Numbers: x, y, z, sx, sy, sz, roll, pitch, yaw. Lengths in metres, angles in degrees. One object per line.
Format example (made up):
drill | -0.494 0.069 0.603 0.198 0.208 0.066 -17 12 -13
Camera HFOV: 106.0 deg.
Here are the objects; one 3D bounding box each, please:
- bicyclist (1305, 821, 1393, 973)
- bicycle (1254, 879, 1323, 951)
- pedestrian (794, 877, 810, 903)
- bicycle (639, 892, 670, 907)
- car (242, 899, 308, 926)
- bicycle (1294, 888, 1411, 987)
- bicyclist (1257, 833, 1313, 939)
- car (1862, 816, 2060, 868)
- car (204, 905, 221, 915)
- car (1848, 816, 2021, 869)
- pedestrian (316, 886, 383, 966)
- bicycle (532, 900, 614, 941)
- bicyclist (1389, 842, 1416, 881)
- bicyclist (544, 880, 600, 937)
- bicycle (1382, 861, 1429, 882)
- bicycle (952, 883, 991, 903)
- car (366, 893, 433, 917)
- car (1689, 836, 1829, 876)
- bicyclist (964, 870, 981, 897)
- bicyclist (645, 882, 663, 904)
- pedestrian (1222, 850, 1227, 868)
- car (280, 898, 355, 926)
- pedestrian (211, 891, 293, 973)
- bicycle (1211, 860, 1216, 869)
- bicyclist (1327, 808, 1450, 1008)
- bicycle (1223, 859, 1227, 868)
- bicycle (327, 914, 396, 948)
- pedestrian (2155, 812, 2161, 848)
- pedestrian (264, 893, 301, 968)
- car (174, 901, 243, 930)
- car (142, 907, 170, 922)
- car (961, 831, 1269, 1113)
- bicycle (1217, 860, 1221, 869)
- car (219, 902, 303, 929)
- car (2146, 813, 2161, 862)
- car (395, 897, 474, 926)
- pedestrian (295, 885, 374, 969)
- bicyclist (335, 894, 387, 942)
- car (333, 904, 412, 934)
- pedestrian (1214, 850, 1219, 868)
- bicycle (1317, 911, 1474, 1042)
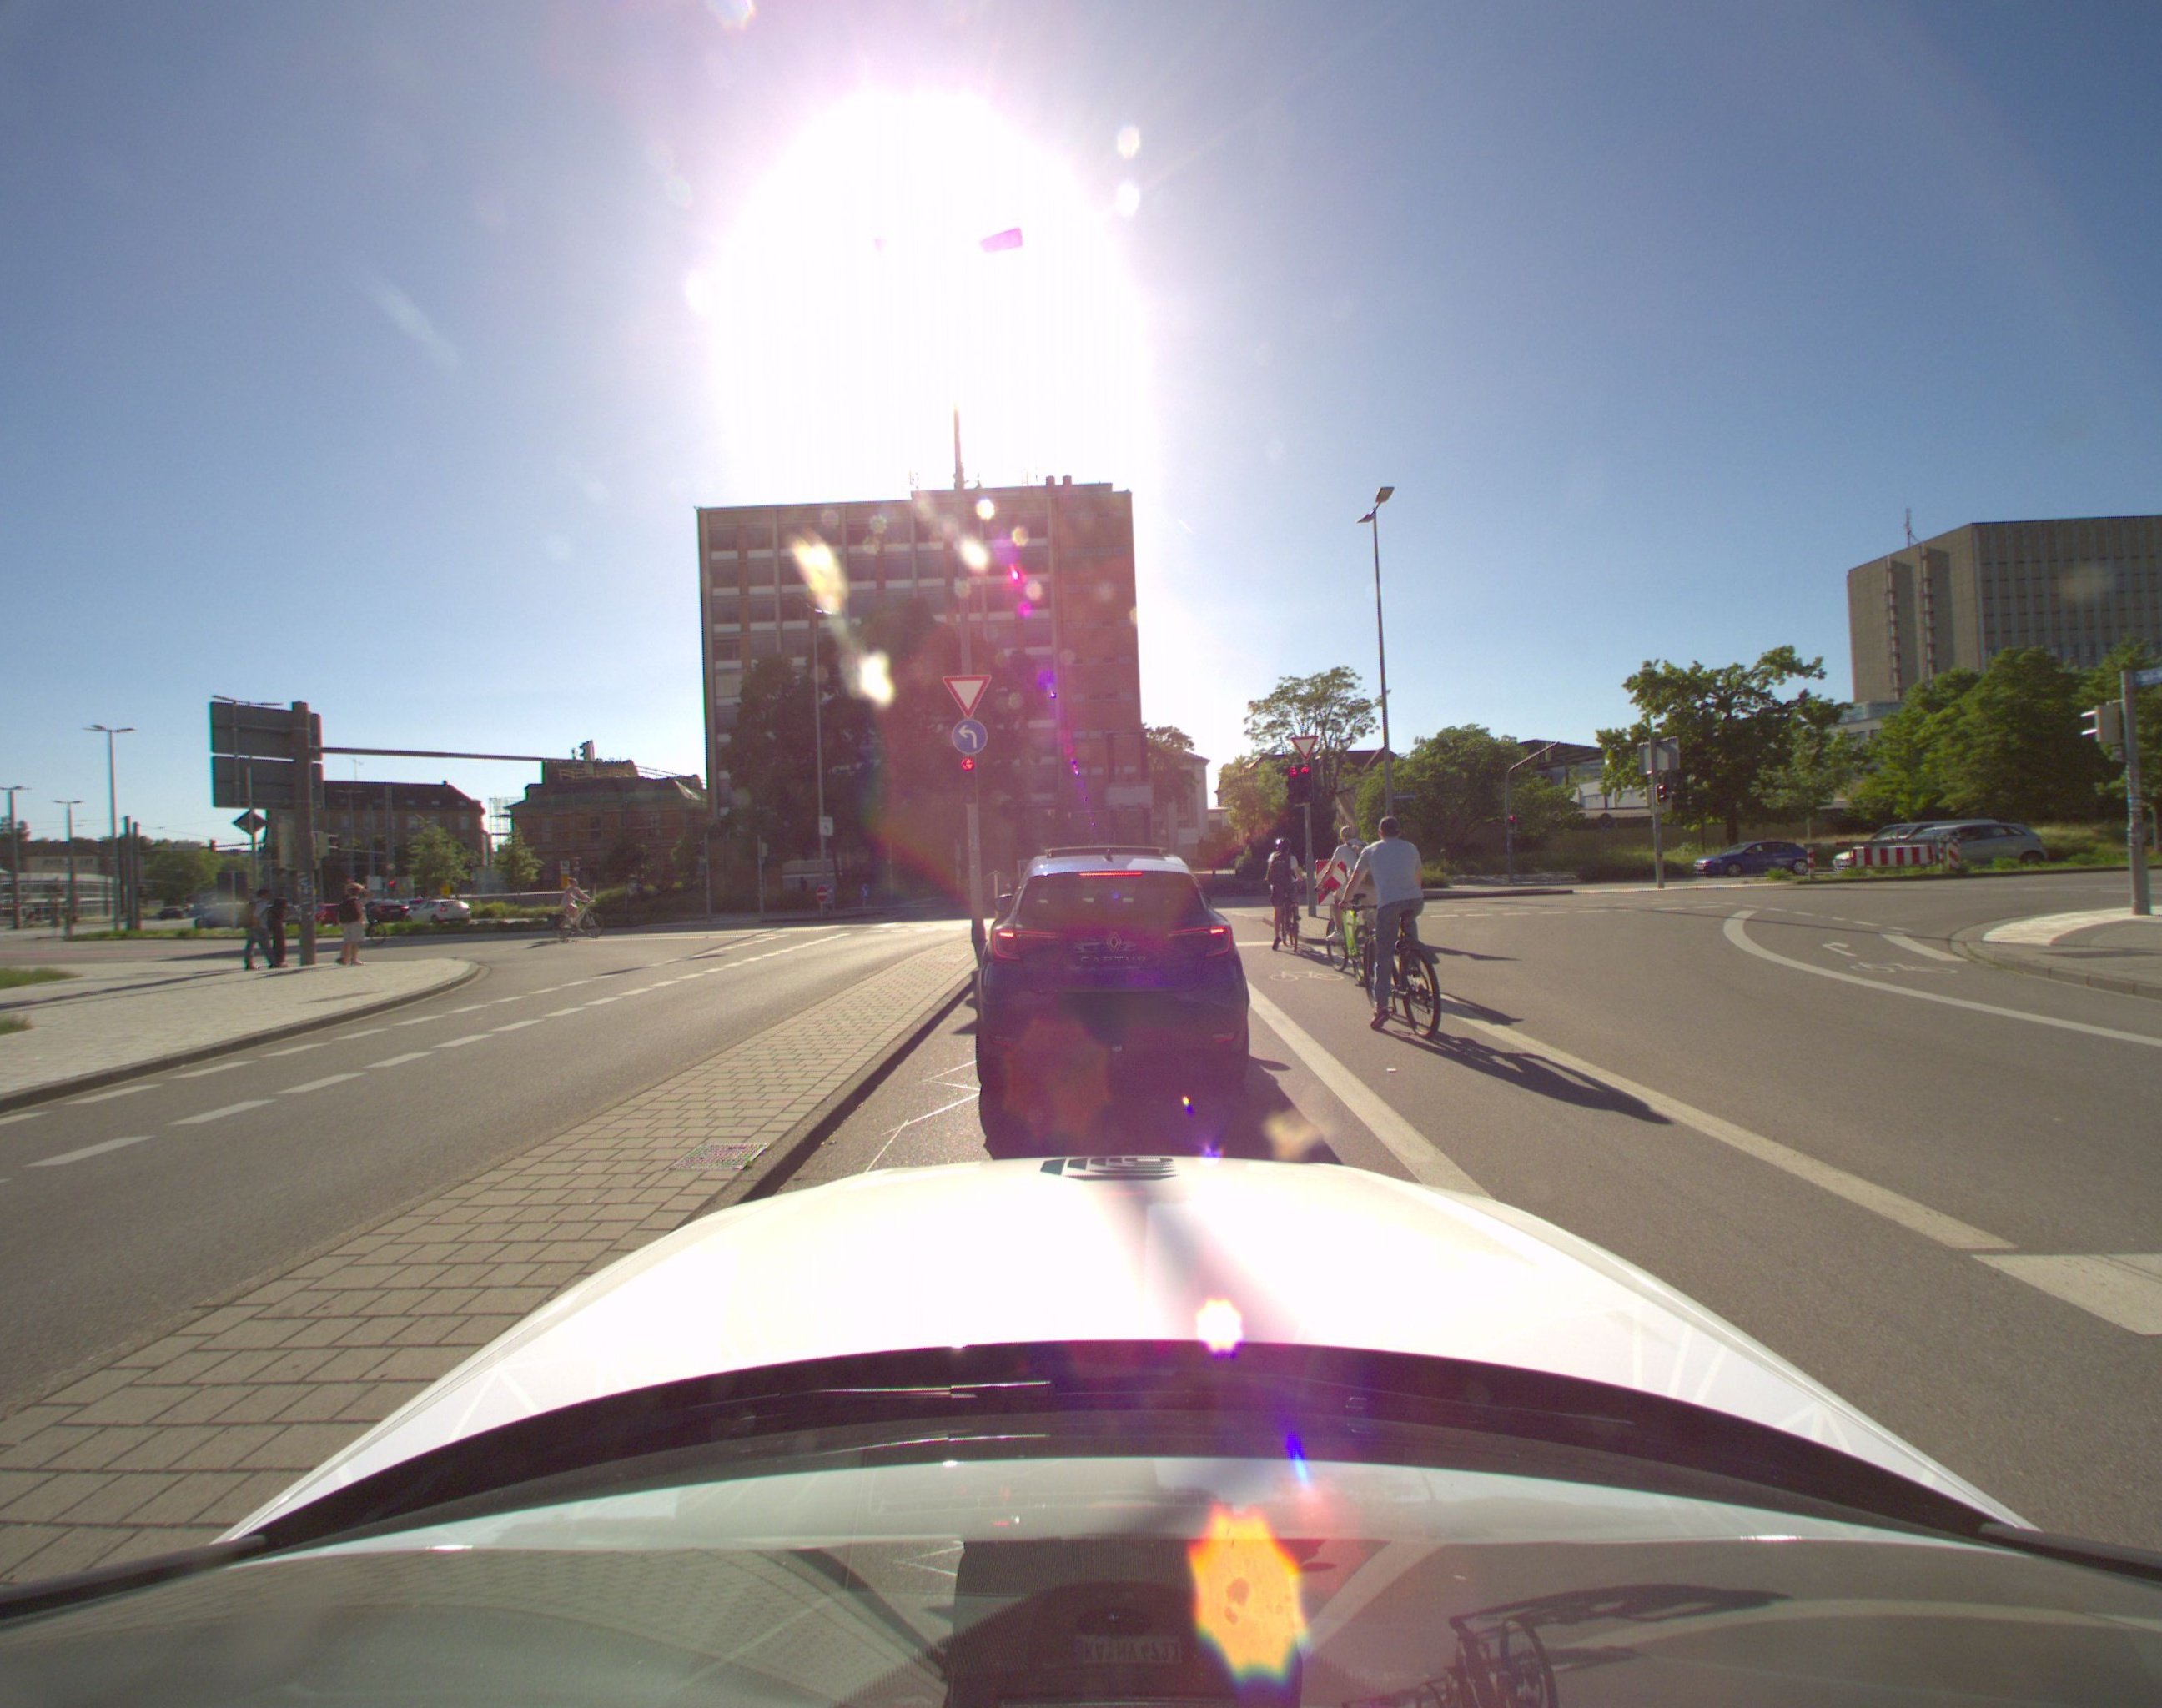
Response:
bicyclist | 3.220 0.492 9.860 0.644 1.739 1.065 0 -1 -4
bicycle | 3.252 0.925 12.944 0.735 0.995 2.177 0 -1 6
pedestrian | -17.939 2.295 52.329 0.731 1.603 0.601 -3 -1 21
bicycle | -29.272 3.116 55.875 2.058 0.964 0.601 -3 -1 20
car | -53.810 3.915 54.386 4.331 1.632 1.855 -3 -1 27
bicycle | 3.219 0.952 9.862 0.657 1.003 1.967 0 -1 -4
bicyclist | 3.243 0.498 12.997 0.722 1.629 0.970 0 -1 6
car | 28.145 -0.363 26.176 4.025 1.408 1.872 -2 -1 8
car | -179.364 11.527 168.160 3.948 2.013 2.013 -3 -1 38
car | 35.257 -0.444 33.770 4.856 2.107 2.002 0 -1 4
pedestrian | -16.341 1.594 18.194 0.785 1.690 0.793 -6 -3 20
bicycle | -14.391 1.893 23.074 1.970 0.995 0.744 -4 -1 14
bicyclist | 16.190 0.376 41.041 1.094 1.867 0.655 -2 -1 12
bicyclist | -14.413 1.535 23.079 1.061 1.500 0.744 -4 -1 14
bicycle | 16.330 0.884 41.056 2.070 0.930 0.697 -3 1 7
bicycle | -5.922 2.108 44.037 2.016 0.964 0.593 -2 -1 -25
car | -49.596 3.712 59.246 4.779 1.632 1.855 -2 -1 25
car | 28.222 0.097 34.017 4.140 1.435 1.747 -2 -1 8
bicyclist | -5.884 1.592 44.064 0.741 1.441 0.593 -2 -1 -25
bicyclist | -29.286 2.691 55.877 0.928 1.429 0.601 -3 -1 21
pedestrian | 16.221 0.596 92.193 0.473 2.014 0.469 -2 -1 8
car | -48.453 3.678 51.660 4.334 1.632 1.854 -3 -1 23
pedestrian | -18.275 1.707 17.966 0.900 1.690 0.839 -4 -3 -3
bicycle | 15.264 1.222 93.890 0.403 0.973 1.686 0 -1 6
bicyclist | 2.717 0.455 7.306 0.748 1.668 1.017 0 -1 3
bicycle | 16.660 1.071 94.182 0.403 0.973 1.686 0 -1 6
bicycle | -22.868 2.448 25.884 1.968 0.918 0.690 -5 -1 17
pedestrian | 52.732 -1.175 39.487 0.559 1.778 0.528 -2 0 3
pedestrian | -19.145 1.808 19.530 0.600 1.729 0.572 -2 -1 -45
car | -55.155 3.901 51.484 4.331 1.632 1.855 -3 -1 27
car | -108.384 7.086 95.419 4.330 1.632 1.856 -3 -1 37
car | 0.208 0.706 6.813 1.798 1.632 3.999 -1 0 0
bicycle | 15.882 1.217 93.832 0.403 0.973 1.686 0 -1 6
car | -49.008 3.672 48.673 4.841 1.388 1.854 -3 -1 23
car | 36.991 -0.626 25.358 4.711 1.584 2.002 -2 -1 4
car | -36.381 3.227 45.847 3.803 1.435 1.752 -2 -1 21
pedestrian | -17.055 1.648 18.628 0.696 1.800 1.109 -6 -3 26
bicyclist | -22.896 2.038 25.898 1.115 1.422 0.690 -4 -1 15
car | -42.557 3.915 48.907 4.334 1.632 1.854 -3 -1 23
pedestrian | 15.108 0.593 90.867 0.473 2.014 0.524 -2 -1 8
bicycle | 2.725 1.018 7.306 0.737 0.896 1.980 0 -1 3
